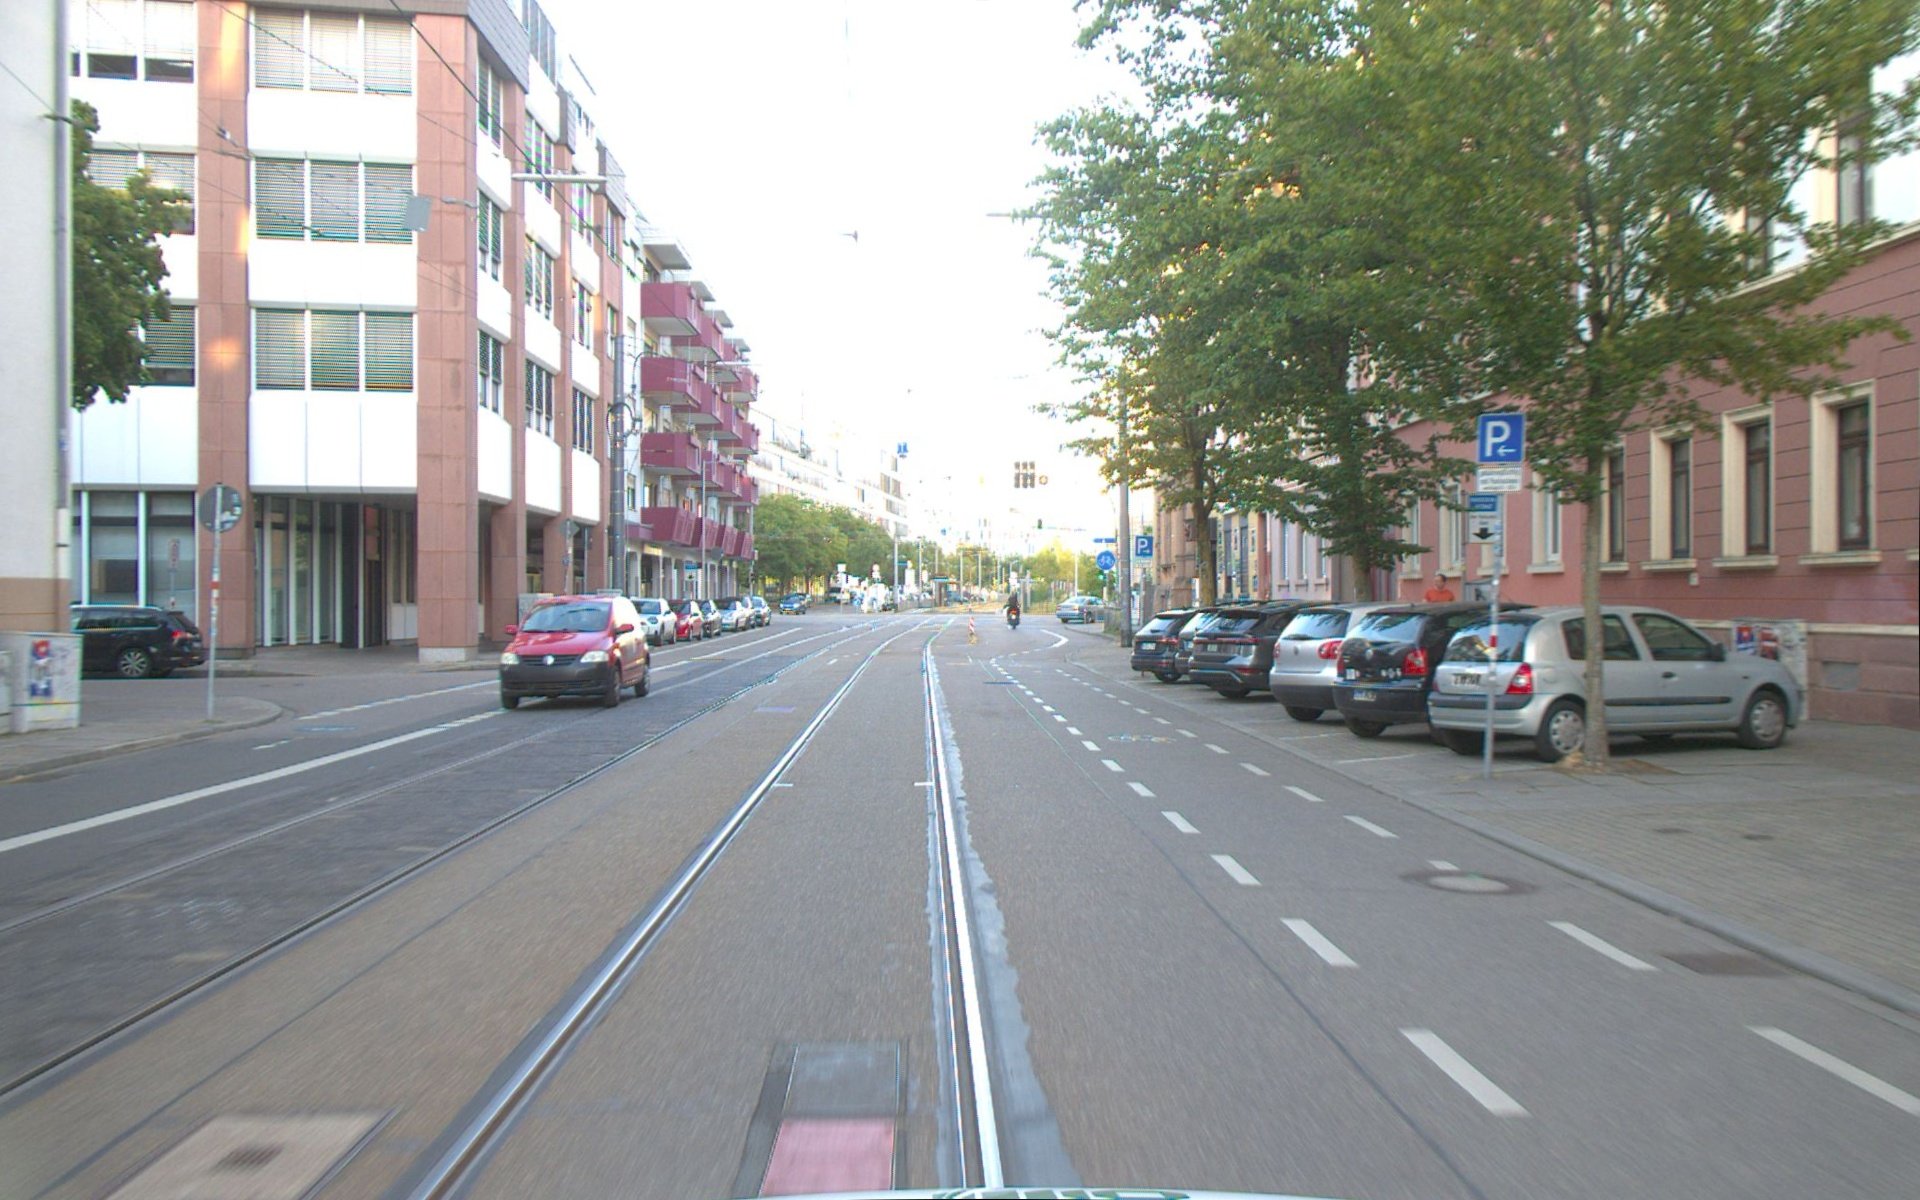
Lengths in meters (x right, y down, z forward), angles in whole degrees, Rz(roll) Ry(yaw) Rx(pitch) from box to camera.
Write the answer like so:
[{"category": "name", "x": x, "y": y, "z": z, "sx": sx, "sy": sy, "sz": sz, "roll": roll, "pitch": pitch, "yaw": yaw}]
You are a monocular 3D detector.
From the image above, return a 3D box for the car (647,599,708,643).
[{"category": "car", "x": -10.338, "y": 0.745, "z": 60.668, "sx": 1.578, "sy": 1.505, "sz": 3.479, "roll": 2, "pitch": 0, "yaw": 0}]

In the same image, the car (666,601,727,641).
[{"category": "car", "x": -10.600, "y": 0.820, "z": 66.844, "sx": 1.954, "sy": 1.505, "sz": 4.479, "roll": 2, "pitch": 0, "yaw": -3}]

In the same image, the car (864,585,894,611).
[{"category": "car", "x": -7.991, "y": -0.235, "z": 163.424, "sx": 2.410, "sy": 2.526, "sz": 5.810, "roll": 0, "pitch": 0, "yaw": 2}]

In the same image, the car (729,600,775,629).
[{"category": "car", "x": -10.863, "y": 0.729, "z": 86.586, "sx": 1.814, "sy": 1.482, "sz": 5.085, "roll": 0, "pitch": 0, "yaw": -1}]

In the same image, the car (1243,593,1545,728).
[{"category": "car", "x": 5.585, "y": 0.723, "z": 21.269, "sx": 3.513, "sy": 1.543, "sz": 1.728, "roll": -1, "pitch": 0, "yaw": -27}]

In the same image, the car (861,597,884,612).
[{"category": "car", "x": -8.313, "y": 0.408, "z": 157.503, "sx": 1.647, "sy": 1.464, "sz": 4.129, "roll": 0, "pitch": 0, "yaw": 6}]

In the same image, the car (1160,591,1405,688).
[{"category": "car", "x": 5.699, "y": 0.683, "z": 29.192, "sx": 3.938, "sy": 1.518, "sz": 1.815, "roll": -2, "pitch": -1, "yaw": -26}]

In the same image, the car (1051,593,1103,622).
[{"category": "car", "x": 6.647, "y": 0.402, "z": 93.445, "sx": 1.682, "sy": 1.583, "sz": 4.202, "roll": 1, "pitch": 0, "yaw": 23}]

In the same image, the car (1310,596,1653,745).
[{"category": "car", "x": 5.838, "y": 0.727, "z": 18.487, "sx": 3.513, "sy": 1.454, "sz": 1.655, "roll": -1, "pitch": 0, "yaw": -27}]

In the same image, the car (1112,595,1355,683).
[{"category": "car", "x": 5.354, "y": 0.720, "z": 32.322, "sx": 4.549, "sy": 1.482, "sz": 1.696, "roll": -2, "pitch": 1, "yaw": -26}]

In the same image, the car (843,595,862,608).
[{"category": "car", "x": -13.581, "y": 0.179, "z": 208.862, "sx": 1.647, "sy": 1.528, "sz": 4.242, "roll": 0, "pitch": 0, "yaw": 6}]

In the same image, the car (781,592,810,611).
[{"category": "car", "x": -14.583, "y": 0.124, "z": 147.195, "sx": 1.647, "sy": 1.729, "sz": 4.242, "roll": 0, "pitch": 0, "yaw": 7}]

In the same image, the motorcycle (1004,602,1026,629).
[{"category": "motorcycle", "x": 2.631, "y": 0.722, "z": 79.205, "sx": 0.812, "sy": 1.261, "sz": 2.489, "roll": 0, "pitch": 0, "yaw": -4}]

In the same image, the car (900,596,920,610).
[{"category": "car", "x": -5.473, "y": 0.343, "z": 182.546, "sx": 1.647, "sy": 1.464, "sz": 4.129, "roll": 0, "pitch": 0, "yaw": 6}]

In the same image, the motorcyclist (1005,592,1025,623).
[{"category": "motorcyclist", "x": 2.635, "y": 0.358, "z": 79.120, "sx": 0.812, "sy": 1.499, "sz": 1.206, "roll": 0, "pitch": 0, "yaw": -5}]

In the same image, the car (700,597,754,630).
[{"category": "car", "x": -10.530, "y": 0.596, "z": 75.016, "sx": 1.656, "sy": 1.438, "sz": 4.677, "roll": 2, "pitch": 0, "yaw": 1}]

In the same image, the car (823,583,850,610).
[{"category": "car", "x": -14.840, "y": -0.379, "z": 199.584, "sx": 2.154, "sy": 3.207, "sz": 6.147, "roll": 0, "pitch": 0, "yaw": 6}]

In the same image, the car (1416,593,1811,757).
[{"category": "car", "x": 6.424, "y": 0.700, "z": 16.310, "sx": 3.432, "sy": 1.454, "sz": 1.610, "roll": -1, "pitch": -2, "yaw": -21}]

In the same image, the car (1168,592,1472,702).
[{"category": "car", "x": 5.717, "y": 0.690, "z": 26.261, "sx": 4.387, "sy": 1.543, "sz": 2.047, "roll": -1, "pitch": 0, "yaw": -25}]

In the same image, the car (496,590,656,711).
[{"category": "car", "x": -5.510, "y": 0.670, "z": 24.137, "sx": 1.528, "sy": 1.585, "sz": 3.753, "roll": -1, "pitch": 0, "yaw": -2}]

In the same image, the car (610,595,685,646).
[{"category": "car", "x": -10.315, "y": 0.659, "z": 54.863, "sx": 1.682, "sy": 1.583, "sz": 4.203, "roll": 1, "pitch": 0, "yaw": -1}]

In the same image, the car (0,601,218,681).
[{"category": "car", "x": -17.486, "y": 0.840, "z": 33.707, "sx": 3.913, "sy": 1.531, "sz": 1.919, "roll": -1, "pitch": -2, "yaw": -9}]
